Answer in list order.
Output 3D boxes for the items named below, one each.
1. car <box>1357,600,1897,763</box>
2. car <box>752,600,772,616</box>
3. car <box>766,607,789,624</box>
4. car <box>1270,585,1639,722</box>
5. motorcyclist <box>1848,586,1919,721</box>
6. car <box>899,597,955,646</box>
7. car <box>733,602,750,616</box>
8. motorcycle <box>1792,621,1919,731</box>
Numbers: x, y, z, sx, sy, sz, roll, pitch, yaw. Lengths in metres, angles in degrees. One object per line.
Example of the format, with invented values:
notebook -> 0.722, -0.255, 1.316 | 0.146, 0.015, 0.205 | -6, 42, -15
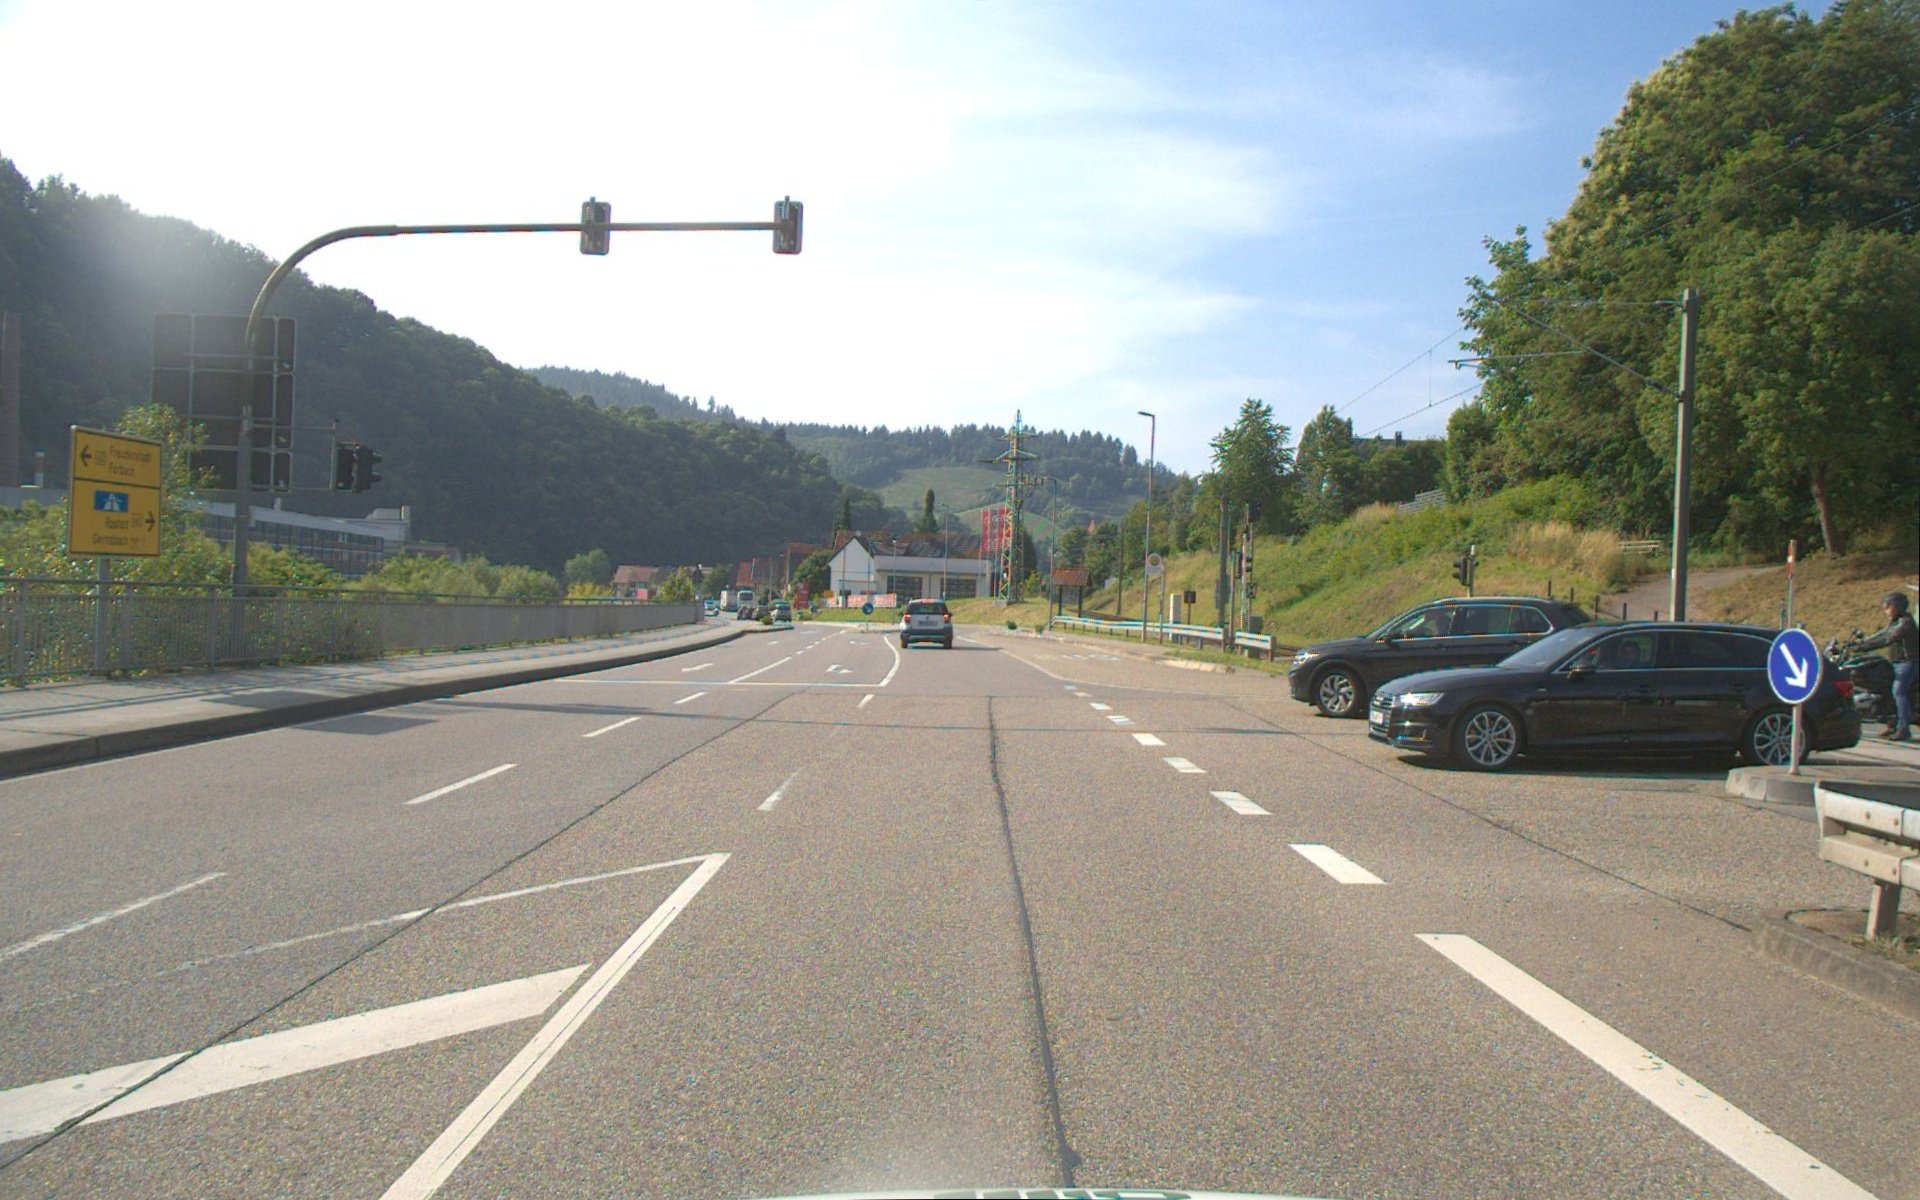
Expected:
car -> 6.465, 0.762, 16.418 | 4.628, 1.495, 1.842 | 0, 0, 1
car -> -20.248, 0.793, 168.991 | 1.432, 1.460, 2.919 | 2, 0, -20
car -> -16.930, 1.453, 153.509 | 1.431, 1.460, 2.920 | 2, 0, -19
car -> 6.791, 0.671, 22.730 | 4.632, 1.689, 1.929 | 1, 0, 25
motorcyclist -> 11.711, 0.664, 20.652 | 0.887, 1.624, 0.766 | 3, 0, 16
car -> -1.154, 0.743, 57.501 | 1.823, 1.571, 4.372 | 2, -1, -1
car -> -25.991, 1.043, 196.842 | 1.432, 1.460, 2.919 | 2, 0, -20
motorcycle -> 11.637, 0.960, 20.688 | 2.049, 1.276, 0.799 | 3, 0, 17
